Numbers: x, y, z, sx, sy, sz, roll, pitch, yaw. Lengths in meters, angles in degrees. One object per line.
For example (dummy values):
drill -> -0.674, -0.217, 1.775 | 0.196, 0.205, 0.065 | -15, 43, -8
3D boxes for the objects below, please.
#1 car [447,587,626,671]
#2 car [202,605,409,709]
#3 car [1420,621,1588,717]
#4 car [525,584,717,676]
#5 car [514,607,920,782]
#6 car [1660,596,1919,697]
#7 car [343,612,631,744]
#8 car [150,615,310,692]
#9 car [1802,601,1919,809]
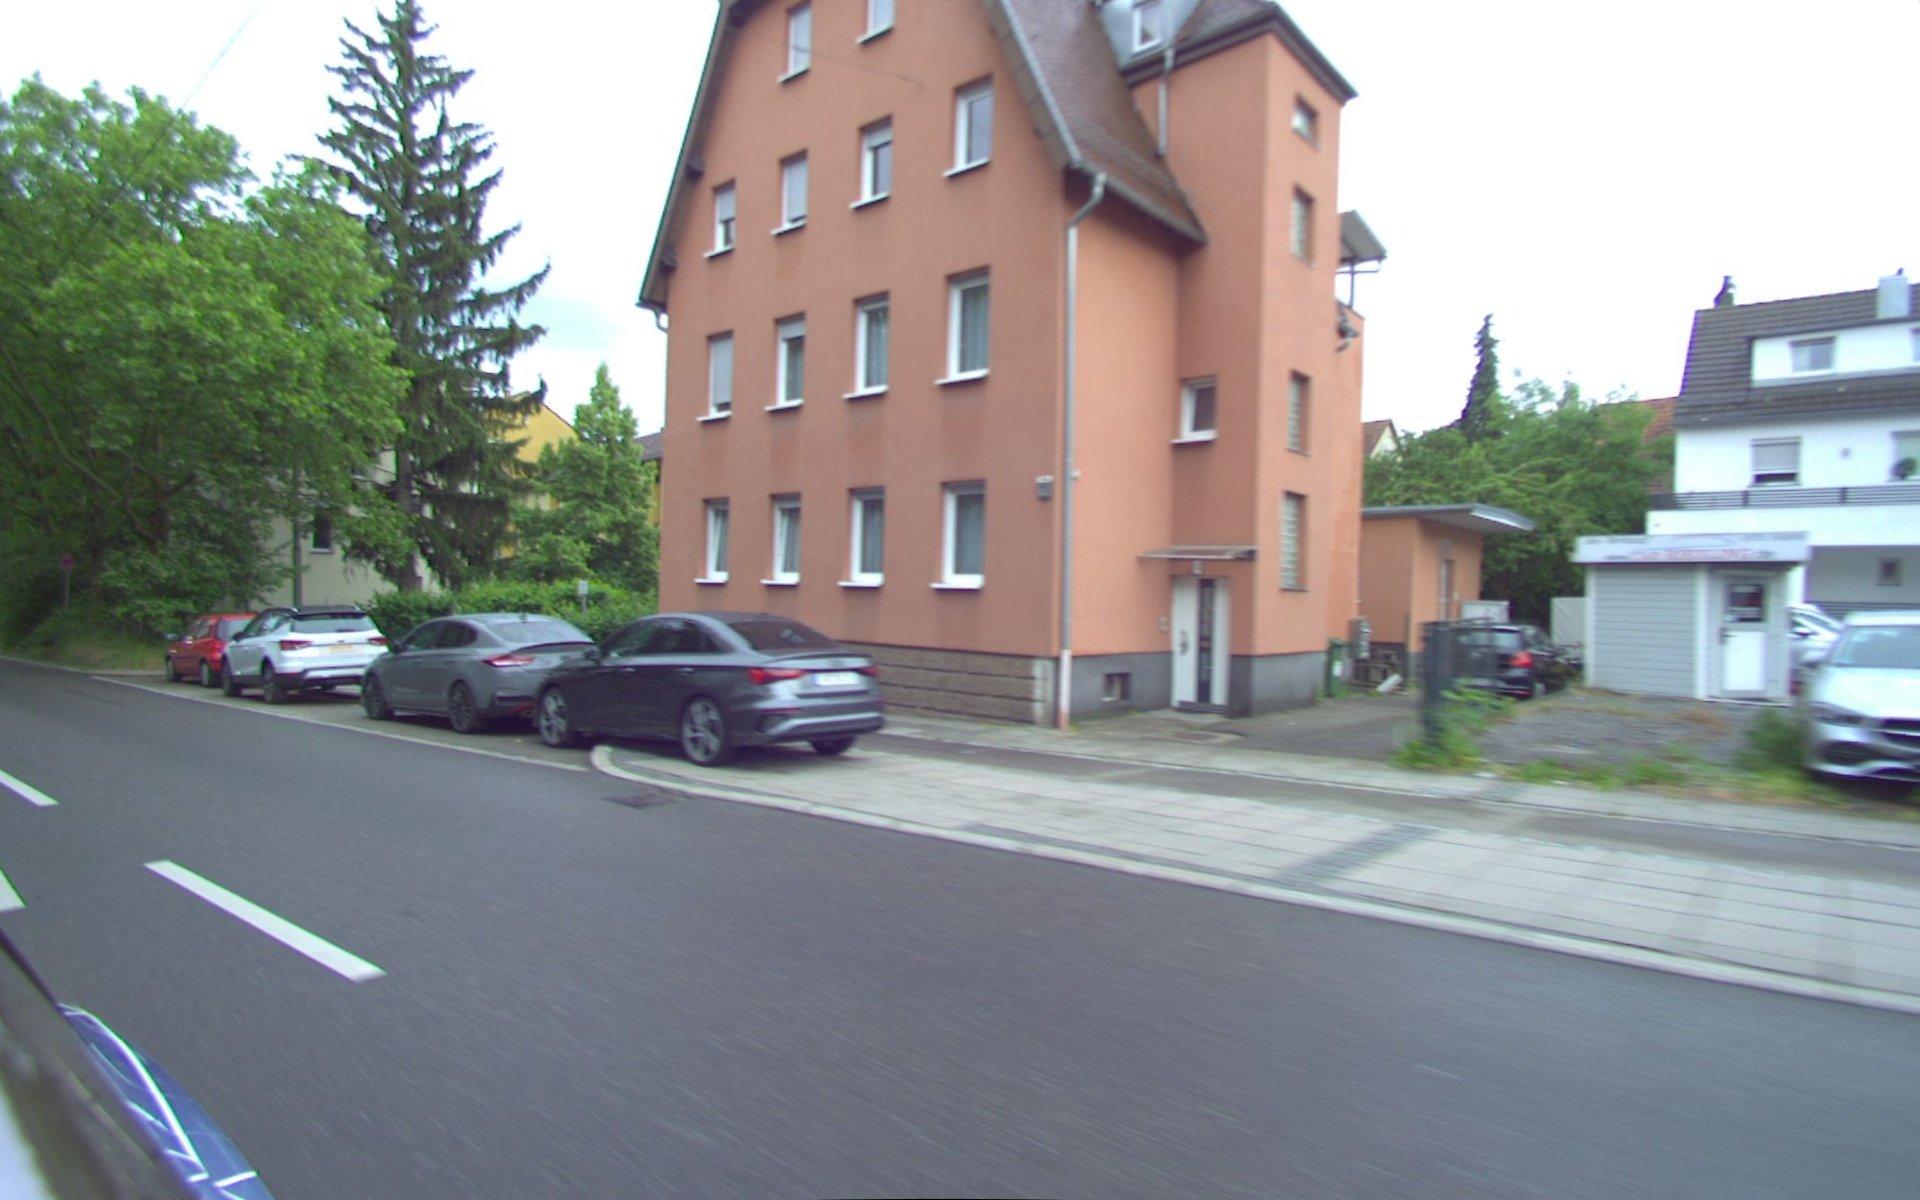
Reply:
car -> -11.155, 0.698, 26.800 | 3.938, 2.029, 2.003 | -1, 0, -42
car -> -11.256, 0.954, 17.299 | 4.196, 1.558, 1.793 | -1, -5, 41
car -> 9.390, 1.084, 17.342 | 1.802, 1.444, 3.840 | -1, -1, 40
car -> -8.119, 0.658, 24.481 | 1.998, 2.029, 3.947 | -1, 0, 39
car -> -2.574, 0.840, 10.241 | 4.193, 1.421, 1.767 | -1, -3, 38
car -> 14.010, 0.705, 16.352 | 4.176, 1.444, 1.972 | -1, 0, 44
car -> -6.297, 0.908, 13.294 | 4.194, 1.463, 1.794 | -1, -1, 39
car -> -15.313, 1.056, 21.153 | 4.196, 1.444, 1.793 | -1, -2, 41
car -> 8.806, 0.783, 8.839 | 2.000, 1.444, 4.117 | -1, 0, 43
